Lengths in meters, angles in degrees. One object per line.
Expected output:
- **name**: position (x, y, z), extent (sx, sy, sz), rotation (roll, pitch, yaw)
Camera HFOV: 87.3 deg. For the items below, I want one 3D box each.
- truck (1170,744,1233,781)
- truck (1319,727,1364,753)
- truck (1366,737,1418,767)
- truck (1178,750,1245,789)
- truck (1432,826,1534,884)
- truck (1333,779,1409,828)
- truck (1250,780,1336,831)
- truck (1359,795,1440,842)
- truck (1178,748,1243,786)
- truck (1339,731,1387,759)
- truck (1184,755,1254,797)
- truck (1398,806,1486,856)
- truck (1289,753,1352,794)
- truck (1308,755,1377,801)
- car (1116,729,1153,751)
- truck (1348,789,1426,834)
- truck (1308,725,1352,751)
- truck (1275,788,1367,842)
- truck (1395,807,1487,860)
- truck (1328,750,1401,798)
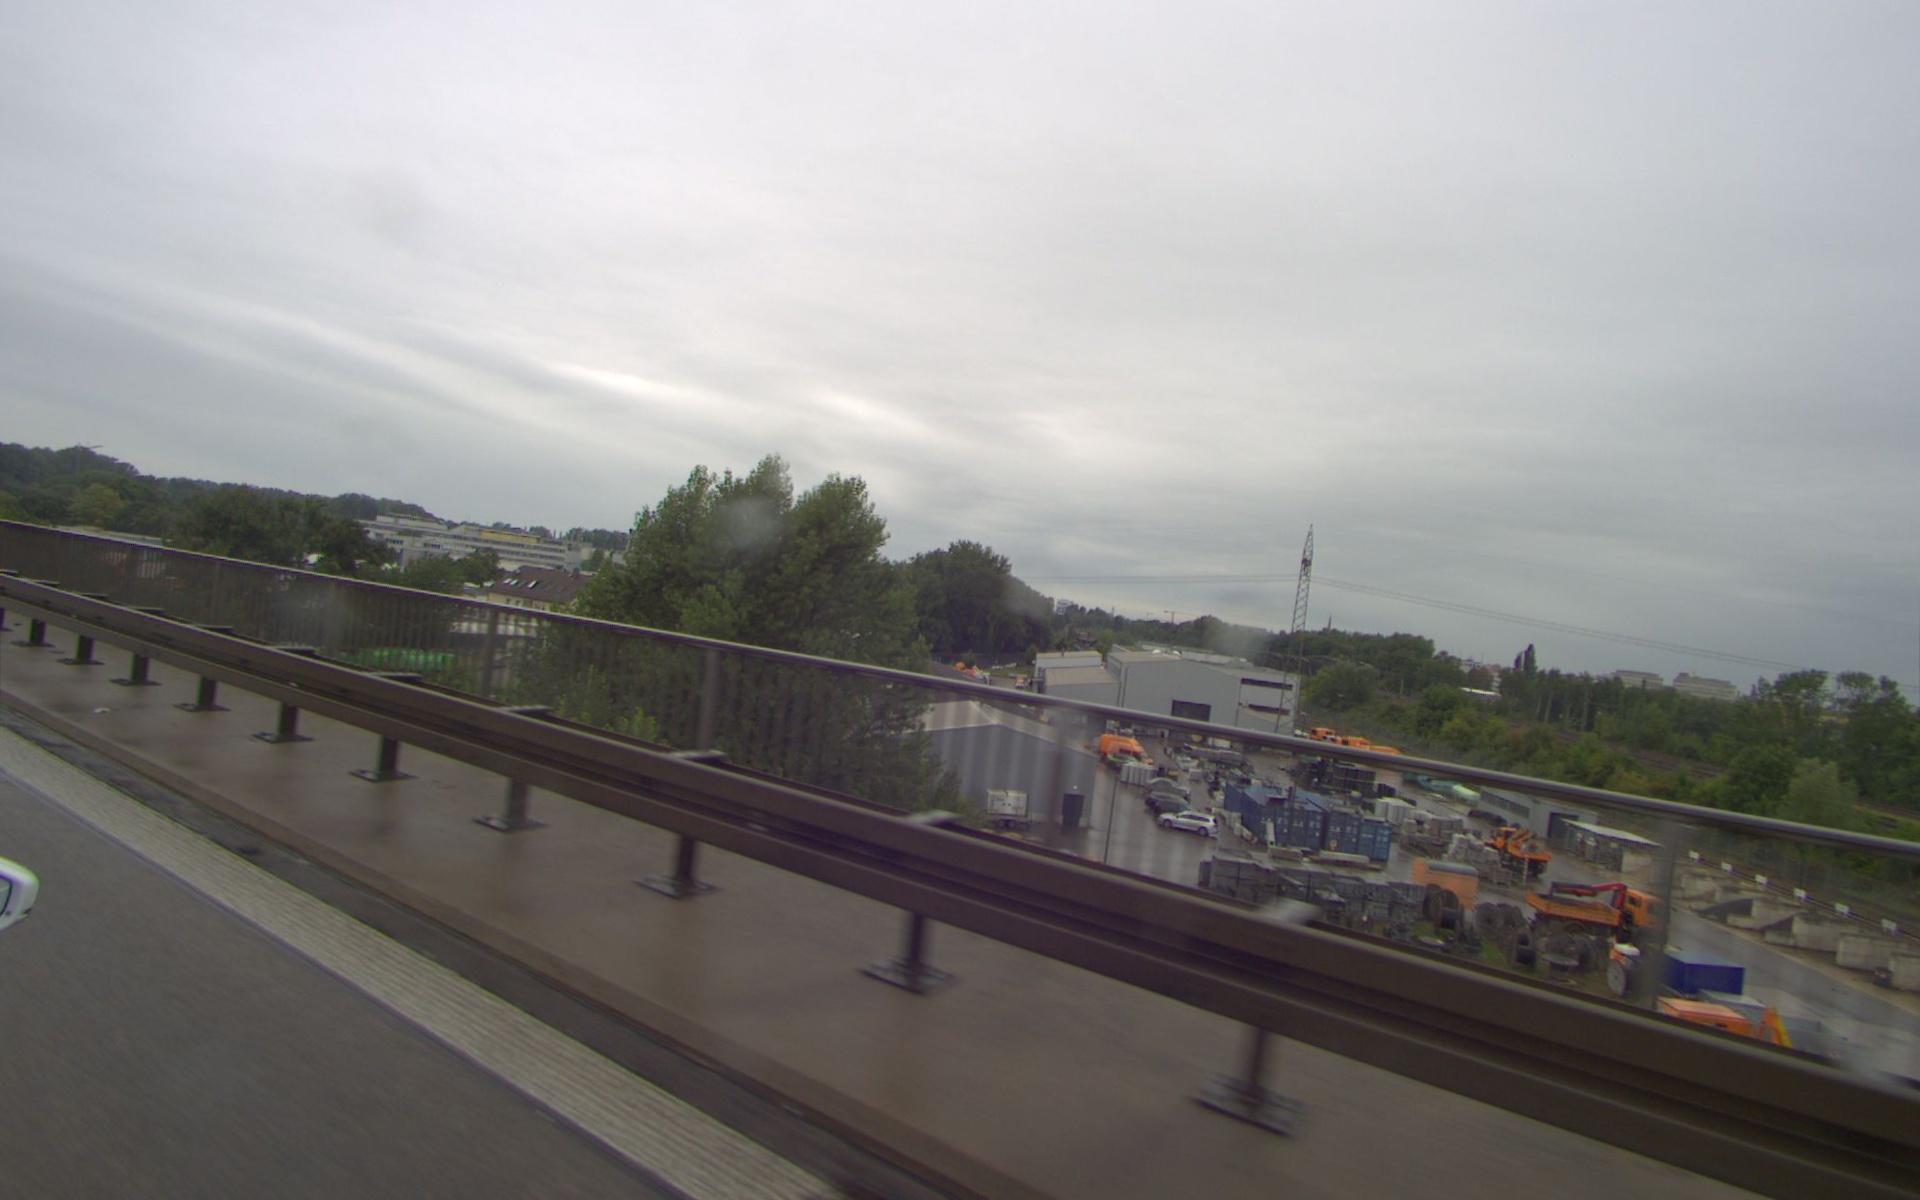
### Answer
- **truck**: position (28.264, 19.026, 117.839), extent (6.468, 3.221, 2.106), rotation (8, -1, -1)
- **truck**: position (61.043, 22.348, 160.989), extent (6.485, 3.220, 2.100), rotation (8, -2, -14)
- **truck**: position (61.206, 21.555, 142.623), extent (6.485, 3.220, 2.100), rotation (8, -2, -14)
- **truck**: position (27.527, 18.582, 110.320), extent (6.468, 3.221, 2.106), rotation (8, -1, -1)
- **truck**: position (40.163, 19.580, 77.356), extent (6.468, 3.221, 2.106), rotation (8, -1, -1)
- **truck**: position (42.004, 20.776, 102.925), extent (6.468, 3.854, 2.106), rotation (8, -1, -1)
- **truck**: position (28.747, 17.731, 86.975), extent (6.468, 3.221, 2.106), rotation (8, -1, -1)
- **truck**: position (41.637, 20.686, 95.324), extent (6.468, 3.221, 2.106), rotation (8, -1, -1)
- **truck**: position (28.264, 18.820, 113.480), extent (6.468, 3.221, 2.106), rotation (8, -1, -1)
- **truck**: position (60.901, 21.943, 152.066), extent (6.485, 3.220, 2.100), rotation (8, -2, -14)
- **truck**: position (26.860, 18.241, 104.527), extent (6.468, 3.221, 2.106), rotation (8, -1, -1)
- **truck**: position (42.650, 20.424, 89.023), extent (6.468, 3.221, 2.106), rotation (8, -1, -1)
- **truck**: position (43.444, 20.925, 121.442), extent (6.468, 3.854, 2.106), rotation (8, -1, -1)
- **truck**: position (42.199, 19.645, 111.164), extent (6.468, 3.854, 2.106), rotation (8, -1, -1)
- **car**: position (21.493, 17.251, 123.953), extent (3.928, 2.037, 2.001), rotation (8, -2, -2)
- **truck**: position (42.281, 20.933, 99.709), extent (6.468, 3.221, 2.106), rotation (8, -1, -1)
- **truck**: position (60.445, 22.508, 164.360), extent (6.485, 3.220, 2.100), rotation (8, -2, -14)
- **truck**: position (29.544, 17.627, 82.457), extent (6.468, 3.221, 2.106), rotation (8, -1, -1)
- **truck**: position (40.814, 19.834, 85.493), extent (6.468, 3.221, 2.106), rotation (8, -1, -1)
- **truck**: position (42.277, 18.188, 105.256), extent (6.468, 3.854, 2.106), rotation (8, -1, -1)
